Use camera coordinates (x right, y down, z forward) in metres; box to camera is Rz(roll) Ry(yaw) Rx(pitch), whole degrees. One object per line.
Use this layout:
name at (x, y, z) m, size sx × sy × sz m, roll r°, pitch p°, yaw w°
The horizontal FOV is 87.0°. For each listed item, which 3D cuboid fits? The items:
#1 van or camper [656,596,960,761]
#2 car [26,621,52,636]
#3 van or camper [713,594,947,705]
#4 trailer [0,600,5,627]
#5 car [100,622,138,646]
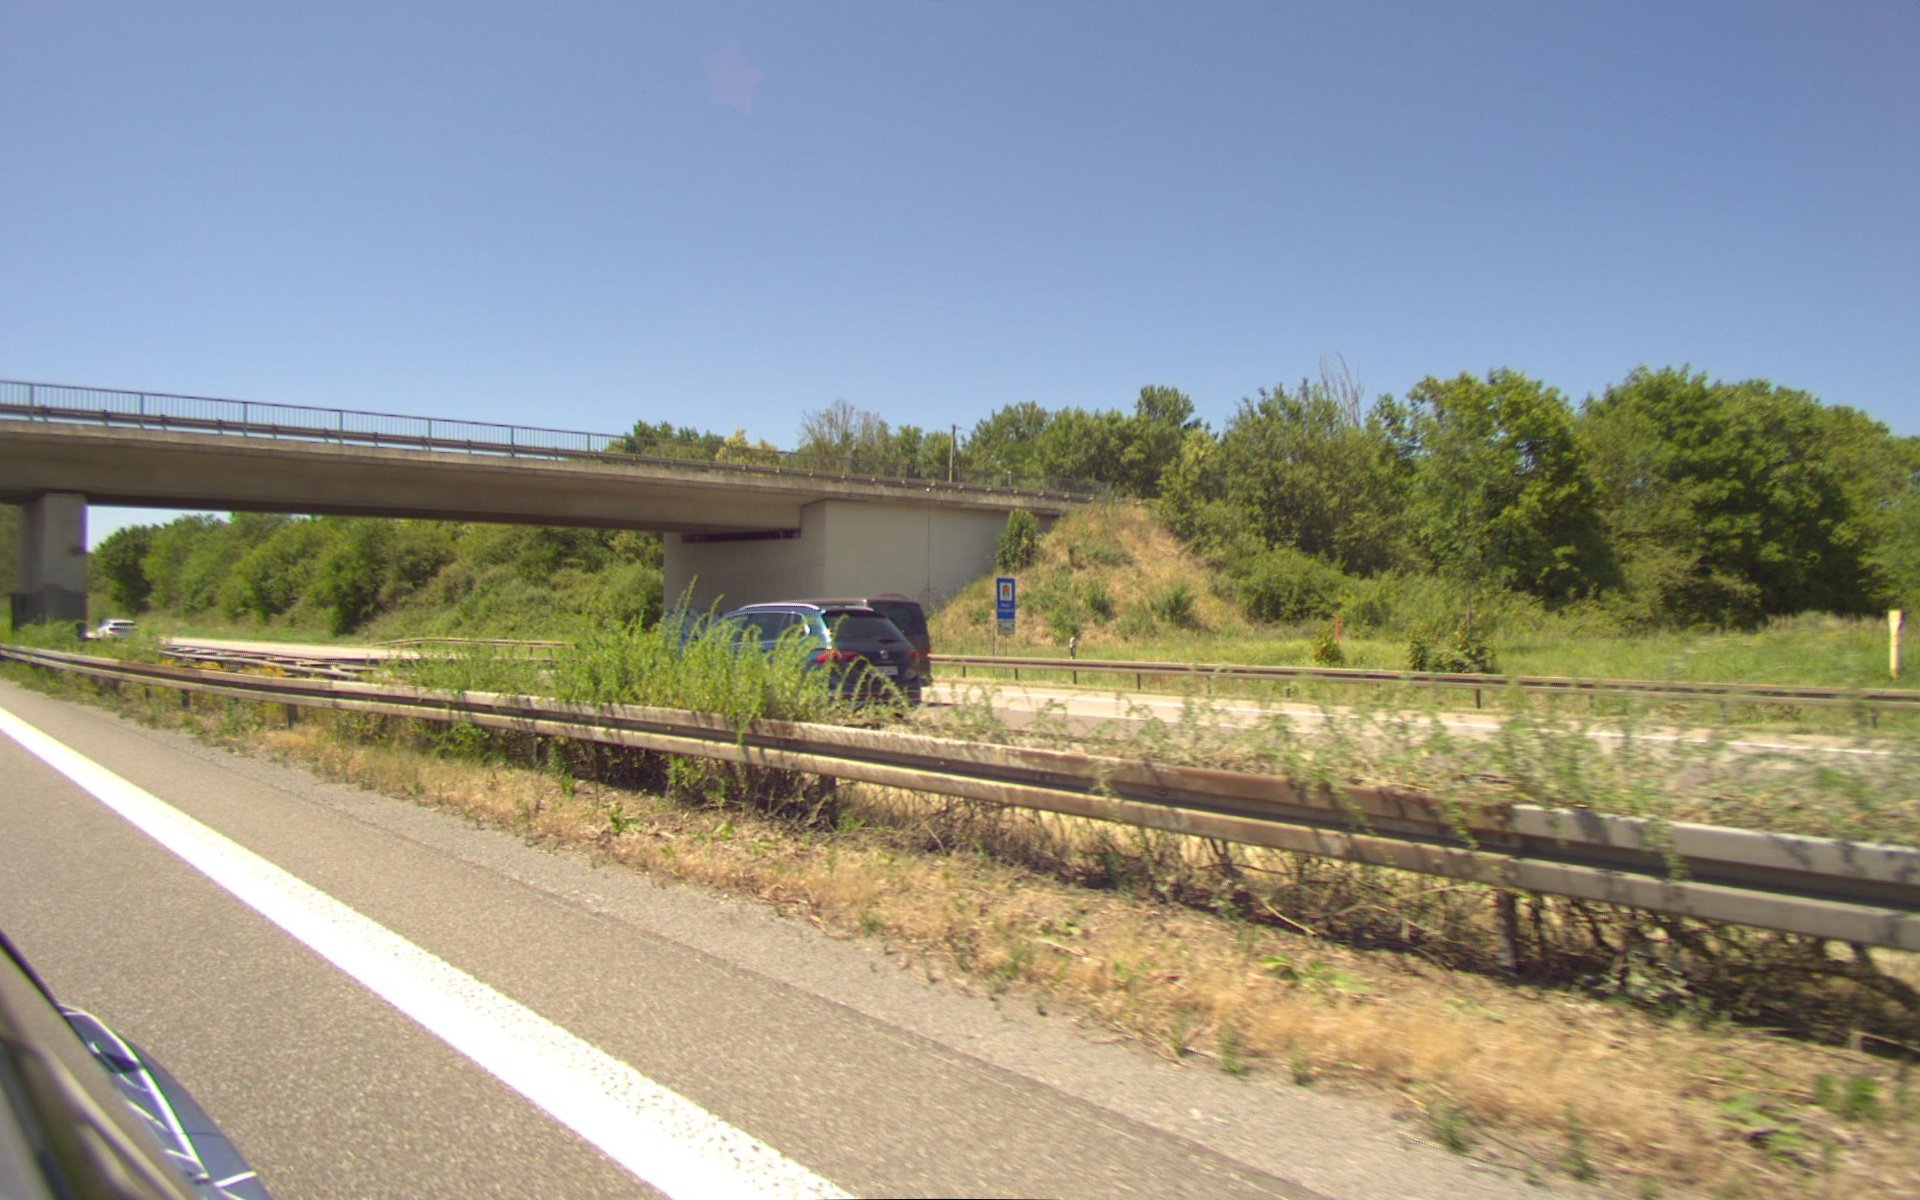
van or camper at (-2.071, 0.889, 13.141) m, size 3.998 × 1.782 × 1.693 m, roll -1°, pitch 1°, yaw 41°
car at (-84.393, 2.568, 92.724) m, size 3.584 × 1.261 × 1.380 m, roll -1°, pitch 2°, yaw 42°
van or camper at (-2.569, 0.909, 19.423) m, size 4.453 × 1.884 × 1.973 m, roll -1°, pitch -3°, yaw 41°
trailer at (-155.780, 2.227, 161.929) m, size 14.476 × 4.280 × 3.111 m, roll -1°, pitch 1°, yaw 42°
car at (-54.760, 2.197, 65.918) m, size 3.167 × 1.397 × 1.498 m, roll -1°, pitch 1°, yaw 43°
